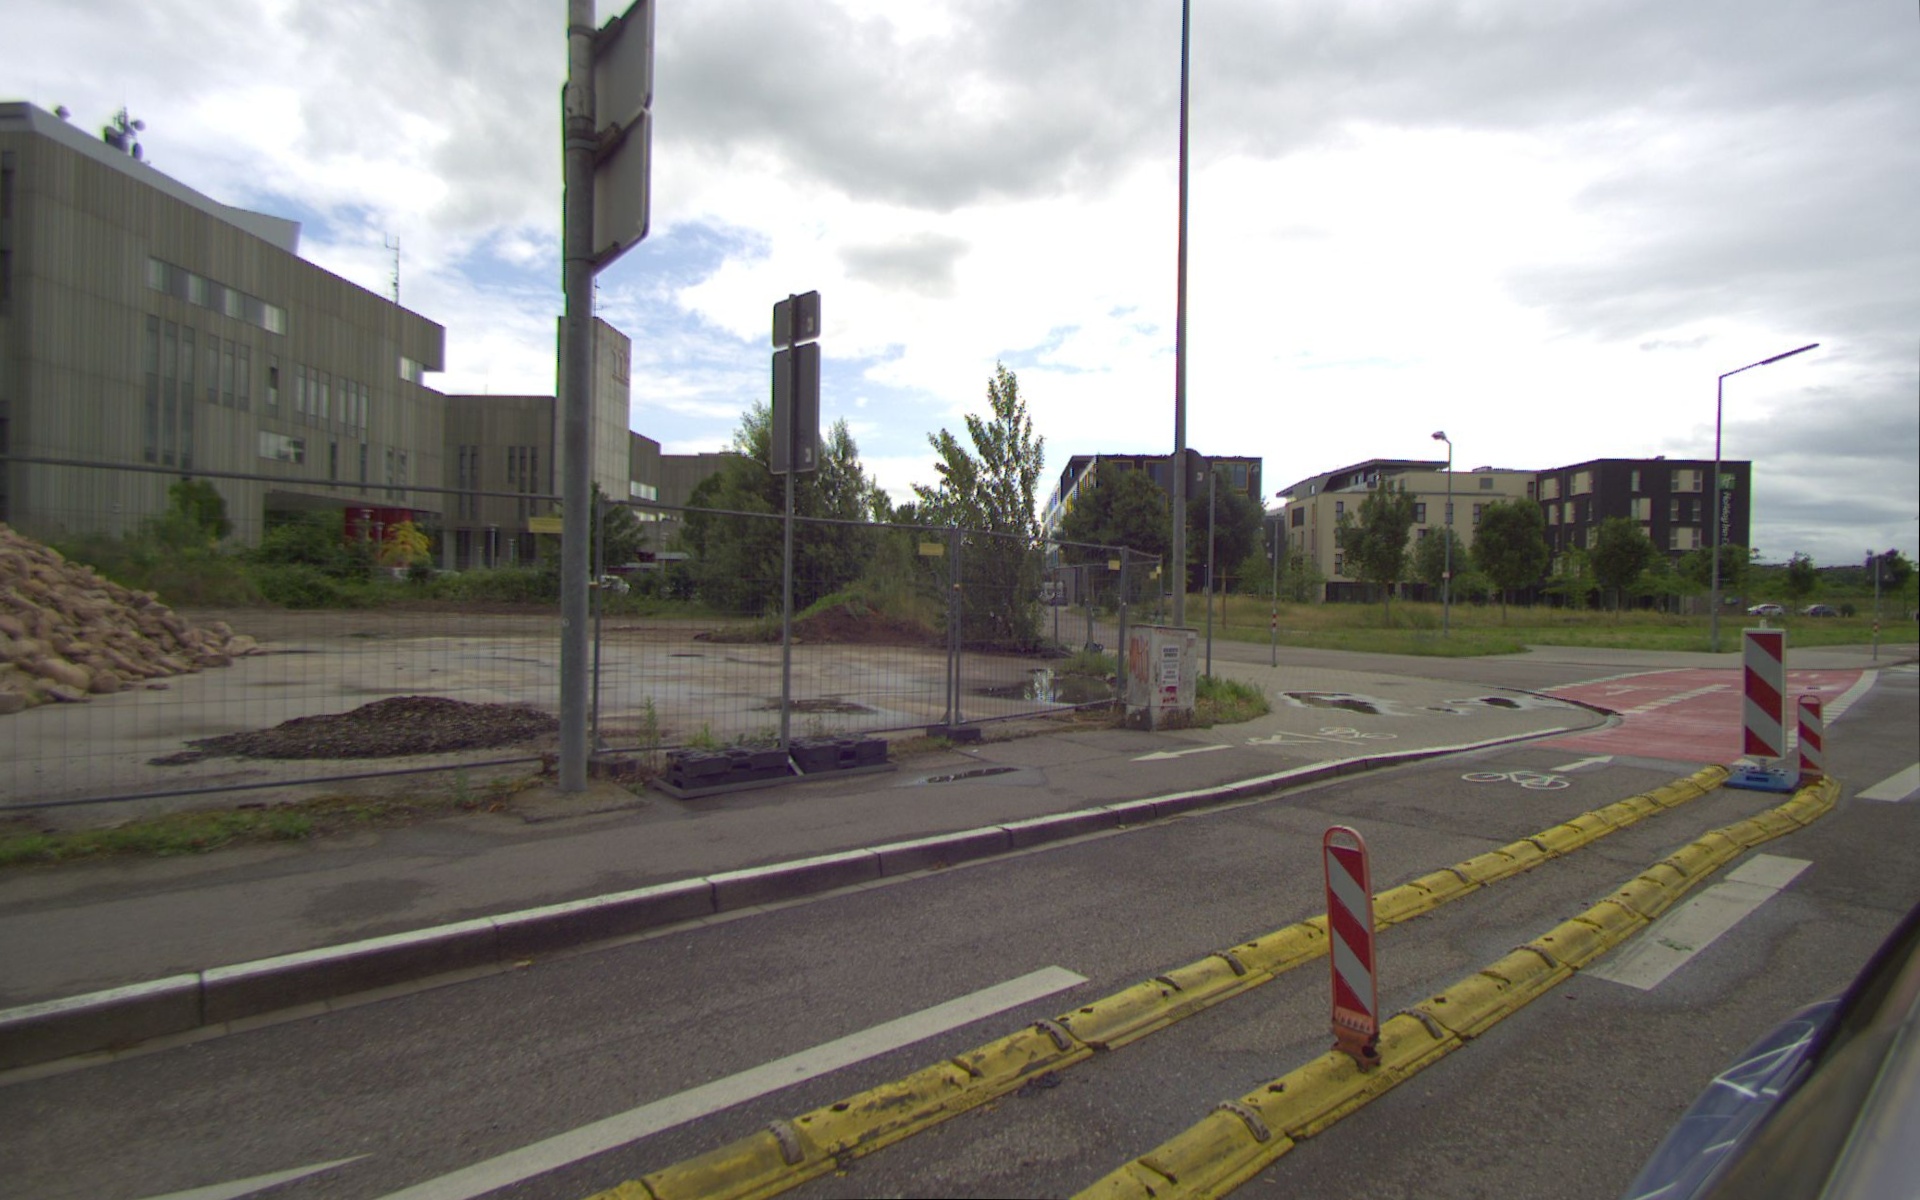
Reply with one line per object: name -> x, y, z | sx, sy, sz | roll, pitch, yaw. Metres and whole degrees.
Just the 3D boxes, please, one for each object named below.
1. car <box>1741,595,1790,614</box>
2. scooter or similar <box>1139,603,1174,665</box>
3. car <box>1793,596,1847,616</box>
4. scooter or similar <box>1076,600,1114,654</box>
car -> 92.310, 0.475, 116.004 | 3.926, 2.039, 1.999 | 1, 1, 2
scooter or similar -> 4.063, 0.685, 20.979 | 0.437, 1.200, 1.326 | 1, 0, 0
car -> 92.205, 0.644, 108.540 | 3.926, 2.039, 1.999 | 1, 1, 2
scooter or similar -> 3.143, 0.621, 23.588 | 0.436, 1.200, 1.176 | 1, 0, -15
